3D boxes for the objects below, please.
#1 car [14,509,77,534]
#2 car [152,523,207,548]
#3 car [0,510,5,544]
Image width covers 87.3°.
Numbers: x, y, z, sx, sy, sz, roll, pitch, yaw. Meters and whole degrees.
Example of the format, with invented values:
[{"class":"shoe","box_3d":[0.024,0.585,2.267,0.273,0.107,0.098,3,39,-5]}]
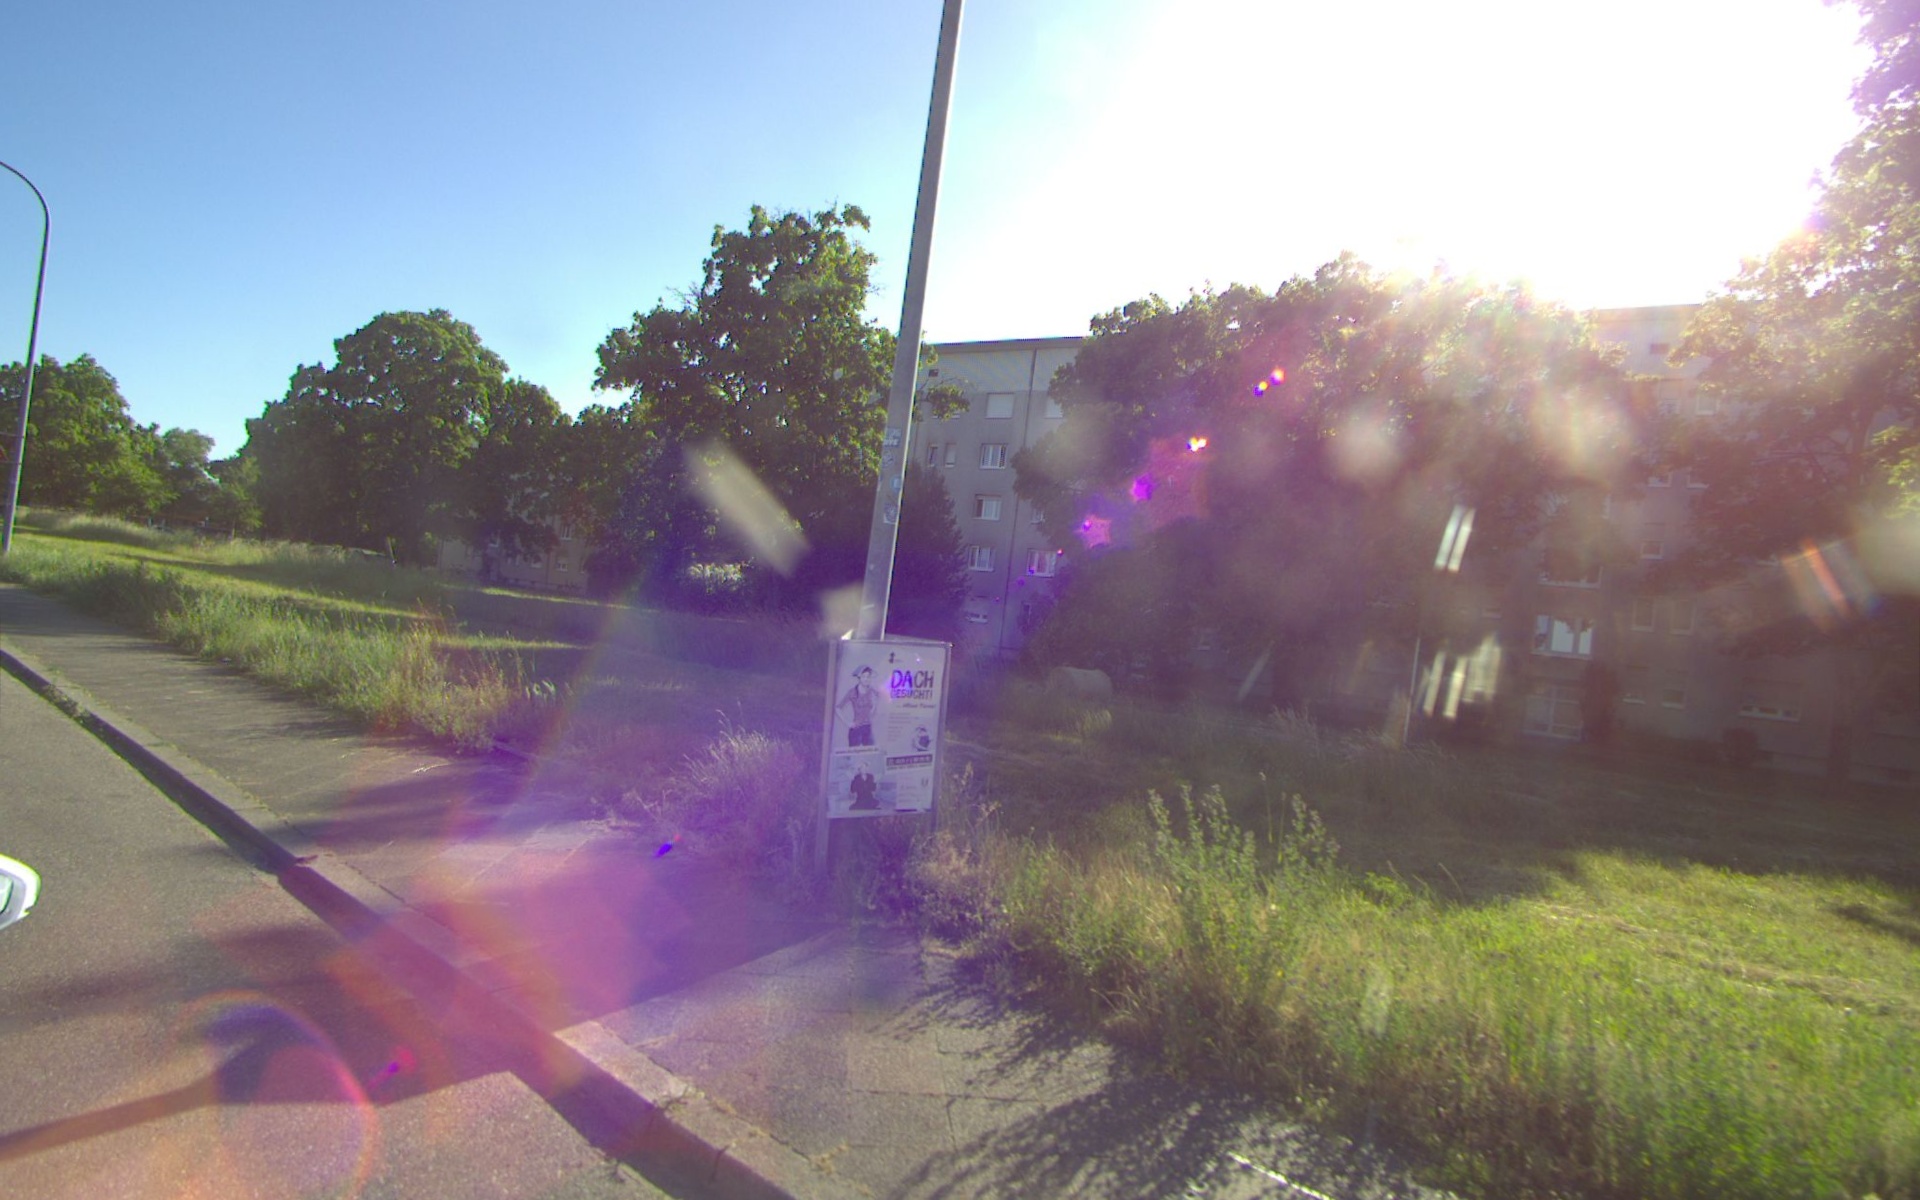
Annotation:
[{"class":"car","box_3d":[-77.638,-6.626,85.451,3.682,1.488,1.684,8,-3,-36]},{"class":"car","box_3d":[-70.220,-5.793,90.548,3.682,1.636,1.684,8,-3,-36]},{"class":"car","box_3d":[-12.990,-0.531,11.879,3.683,1.495,1.724,6,-3,36]}]
